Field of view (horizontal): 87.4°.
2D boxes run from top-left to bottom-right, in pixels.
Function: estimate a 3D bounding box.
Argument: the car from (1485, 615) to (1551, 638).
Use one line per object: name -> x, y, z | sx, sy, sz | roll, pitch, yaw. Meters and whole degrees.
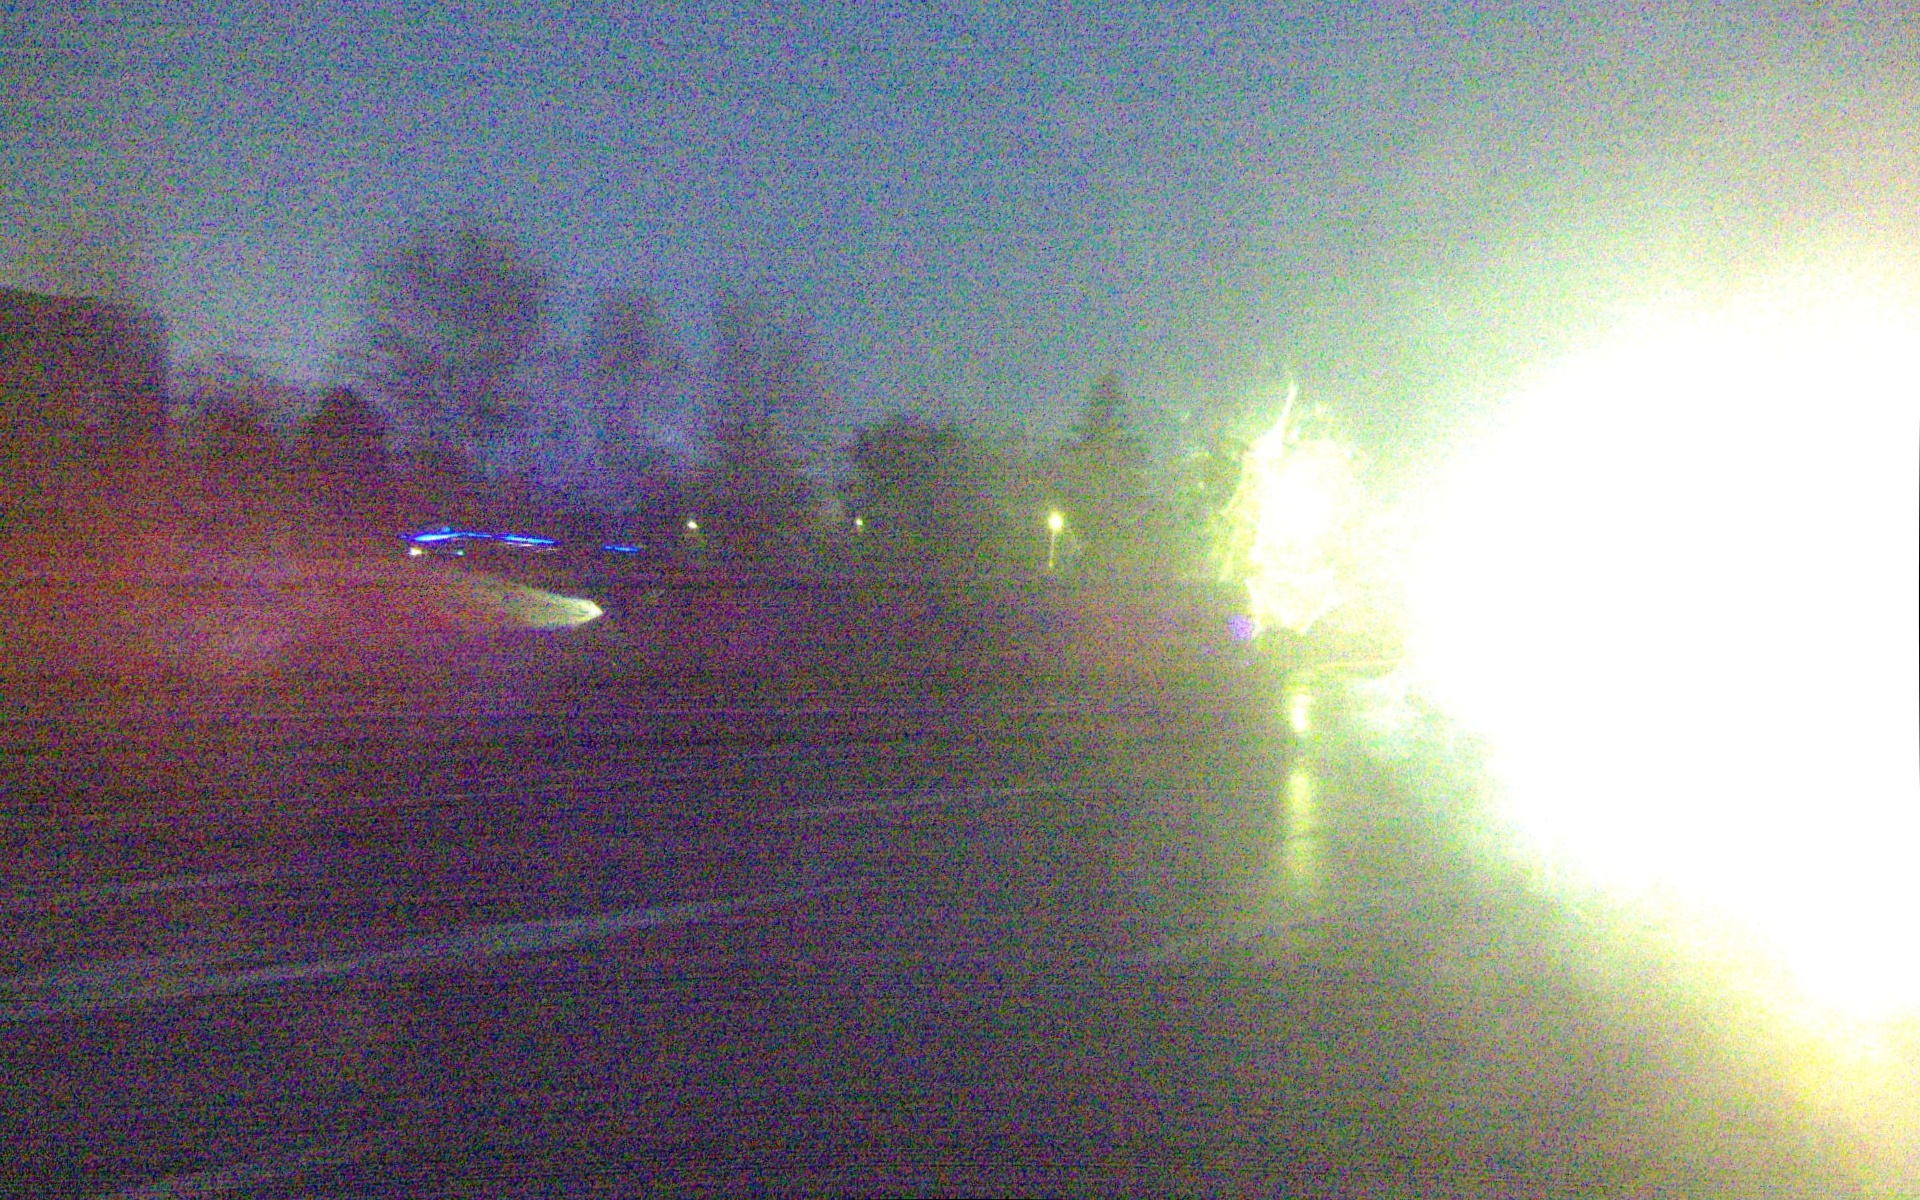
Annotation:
car -> 42.319, 2.007, 76.259 | 4.208, 1.649, 1.998 | 1, -1, 26
